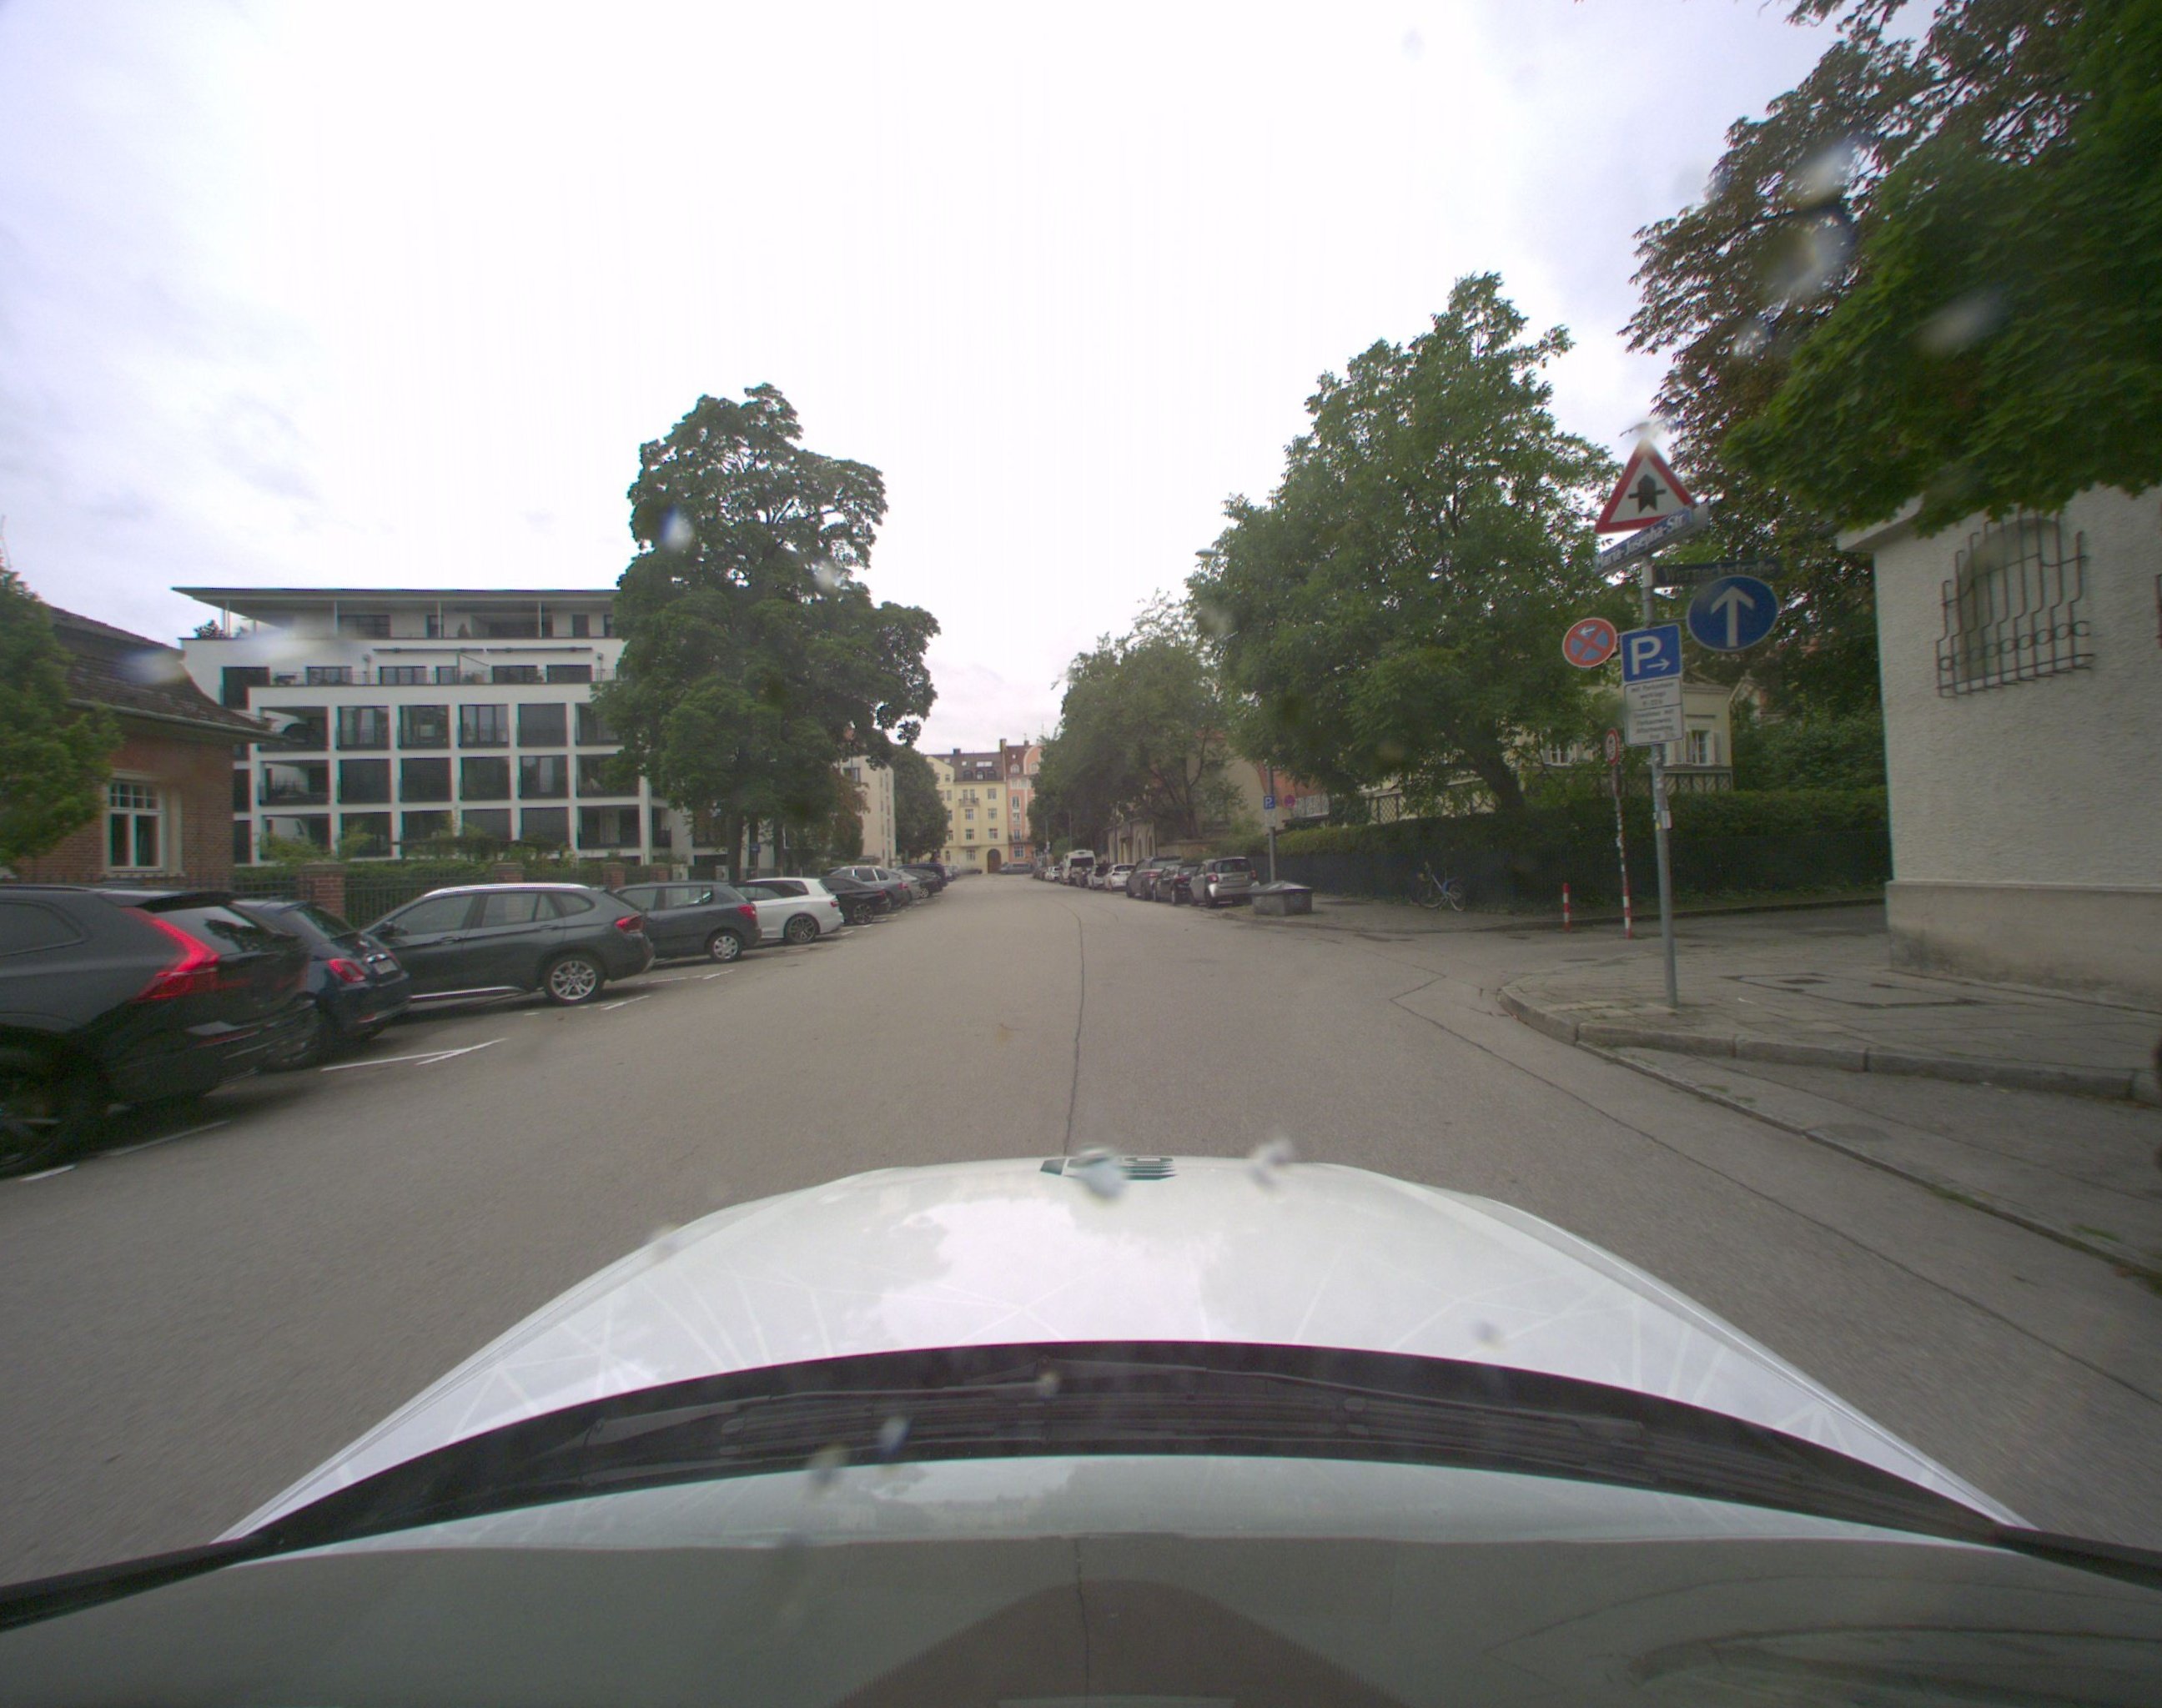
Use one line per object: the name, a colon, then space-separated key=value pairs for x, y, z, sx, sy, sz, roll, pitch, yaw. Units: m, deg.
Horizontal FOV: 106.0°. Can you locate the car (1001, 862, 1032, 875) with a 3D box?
car: x=-10.194 y=2.235 z=128.819 sx=4.702 sy=1.881 sz=1.834 roll=-2 pitch=-1 yaw=-9

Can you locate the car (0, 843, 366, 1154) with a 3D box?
car: x=-7.514 y=0.921 z=4.804 sx=4.537 sy=1.665 sz=1.970 roll=-3 pitch=-1 yaw=-27

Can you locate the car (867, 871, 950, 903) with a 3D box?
car: x=-9.678 y=1.823 z=45.709 sx=4.229 sy=1.461 sz=1.721 roll=-3 pitch=-1 yaw=-28

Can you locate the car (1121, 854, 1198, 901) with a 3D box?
car: x=3.202 y=0.959 z=34.463 sx=1.993 sy=1.711 sz=4.868 roll=-4 pitch=-1 yaw=-9

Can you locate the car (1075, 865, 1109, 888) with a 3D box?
car: x=0.676 y=1.483 z=54.776 sx=1.705 sy=1.369 sz=4.430 roll=-3 pitch=-1 yaw=-6

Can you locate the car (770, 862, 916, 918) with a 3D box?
car: x=-8.338 y=1.232 z=28.704 sx=4.435 sy=1.699 sz=2.112 roll=-2 pitch=-2 yaw=-39

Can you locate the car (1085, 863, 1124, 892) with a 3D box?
car: x=1.388 y=1.390 z=49.041 sx=1.705 sy=1.537 sz=4.230 roll=-4 pitch=-1 yaw=-6

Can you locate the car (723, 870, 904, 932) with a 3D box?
car: x=-7.523 y=1.278 z=23.093 sx=4.433 sy=1.439 sz=1.943 roll=-2 pitch=-2 yaw=-38

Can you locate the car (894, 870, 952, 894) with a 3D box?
car: x=-12.477 y=2.178 z=64.425 sx=4.140 sy=1.609 sz=1.717 roll=-3 pitch=-1 yaw=-39

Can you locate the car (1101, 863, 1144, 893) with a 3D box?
car: x=2.186 y=1.314 z=43.974 sx=1.683 sy=1.441 sz=3.991 roll=-3 pitch=-1 yaw=-6

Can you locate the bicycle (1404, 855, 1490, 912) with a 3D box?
bicycle: x=8.052 y=0.620 z=18.031 sx=0.805 sy=1.162 sz=1.968 roll=-2 pitch=-1 yaw=-7

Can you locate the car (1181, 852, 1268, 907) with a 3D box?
car: x=4.471 y=0.813 z=25.795 sx=1.739 sy=1.536 sz=2.936 roll=-4 pitch=-2 yaw=-9

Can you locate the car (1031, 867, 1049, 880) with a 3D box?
car: x=-4.973 y=2.365 z=99.112 sx=1.670 sy=1.344 sz=3.825 roll=-3 pitch=1 yaw=-10

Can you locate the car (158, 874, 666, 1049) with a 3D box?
car: x=-7.773 y=1.144 z=10.160 sx=4.540 sy=1.567 sz=1.872 roll=-2 pitch=-1 yaw=-29

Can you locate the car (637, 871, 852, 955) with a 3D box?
car: x=-8.159 y=1.358 z=19.849 sx=4.532 sy=1.509 sz=1.912 roll=-4 pitch=-1 yaw=-31

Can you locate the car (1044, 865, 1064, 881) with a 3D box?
car: x=-2.816 y=1.972 z=84.663 sx=1.705 sy=1.466 sz=3.829 roll=-3 pitch=-1 yaw=-6

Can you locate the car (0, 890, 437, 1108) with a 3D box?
car: x=-8.591 y=1.228 z=7.060 sx=4.338 sy=1.471 sz=1.805 roll=-4 pitch=0 yaw=-26

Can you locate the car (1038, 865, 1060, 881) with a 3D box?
car: x=-3.492 y=2.050 z=88.883 sx=1.803 sy=1.466 sz=3.824 roll=-3 pitch=1 yaw=-10

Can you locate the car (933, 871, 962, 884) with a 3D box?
car: x=-19.257 y=3.332 z=117.562 sx=3.984 sy=1.508 sz=1.835 roll=-5 pitch=-1 yaw=-8

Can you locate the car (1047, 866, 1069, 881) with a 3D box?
car: x=-2.292 y=1.910 z=79.760 sx=1.706 sy=1.408 sz=4.118 roll=-3 pitch=-1 yaw=-8

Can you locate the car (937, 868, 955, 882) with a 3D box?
car: x=-15.842 y=2.485 z=95.744 sx=1.832 sy=1.508 sz=3.991 roll=-5 pitch=-1 yaw=-6

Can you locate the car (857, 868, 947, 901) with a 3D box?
car: x=-9.423 y=1.606 z=42.951 sx=4.238 sy=1.461 sz=1.717 roll=-3 pitch=-1 yaw=-37

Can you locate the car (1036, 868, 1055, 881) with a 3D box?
car: x=-4.163 y=2.388 z=94.266 sx=1.670 sy=1.344 sz=3.825 roll=-3 pitch=1 yaw=-10

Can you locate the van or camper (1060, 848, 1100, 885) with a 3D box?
van or camper: x=-0.178 y=0.939 z=61.586 sx=2.191 sy=2.550 sz=5.713 roll=-3 pitch=-1 yaw=-7

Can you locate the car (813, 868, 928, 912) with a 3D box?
car: x=-9.046 y=1.511 z=35.045 sx=4.424 sy=1.621 sz=2.067 roll=-2 pitch=-2 yaw=-28

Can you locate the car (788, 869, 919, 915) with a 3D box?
car: x=-8.788 y=1.449 z=31.601 sx=4.434 sy=1.491 sz=1.994 roll=-2 pitch=-2 yaw=-39

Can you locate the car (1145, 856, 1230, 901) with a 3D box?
car: x=3.813 y=0.876 z=29.873 sx=1.877 sy=1.427 sz=4.208 roll=-4 pitch=-1 yaw=-9

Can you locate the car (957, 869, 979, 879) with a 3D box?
car: x=-20.805 y=3.676 z=150.066 sx=3.982 sy=1.586 sz=1.700 roll=-2 pitch=-1 yaw=-6

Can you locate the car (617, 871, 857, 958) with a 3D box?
car: x=-7.378 y=1.230 z=17.592 sx=4.532 sy=1.451 sz=1.878 roll=-2 pitch=-1 yaw=-31

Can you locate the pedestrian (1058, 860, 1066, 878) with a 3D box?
pedestrian: x=-2.160 y=1.682 z=93.189 sx=0.772 sy=2.014 sz=0.561 roll=-2 pitch=-1 yaw=-7

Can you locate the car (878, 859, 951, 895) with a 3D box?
car: x=-10.877 y=1.512 z=53.215 sx=4.237 sy=2.066 sz=1.718 roll=-3 pitch=-1 yaw=-36

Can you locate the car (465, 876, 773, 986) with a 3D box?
car: x=-7.850 y=1.231 z=14.252 sx=4.407 sy=1.451 sz=1.642 roll=-3 pitch=-1 yaw=-28
